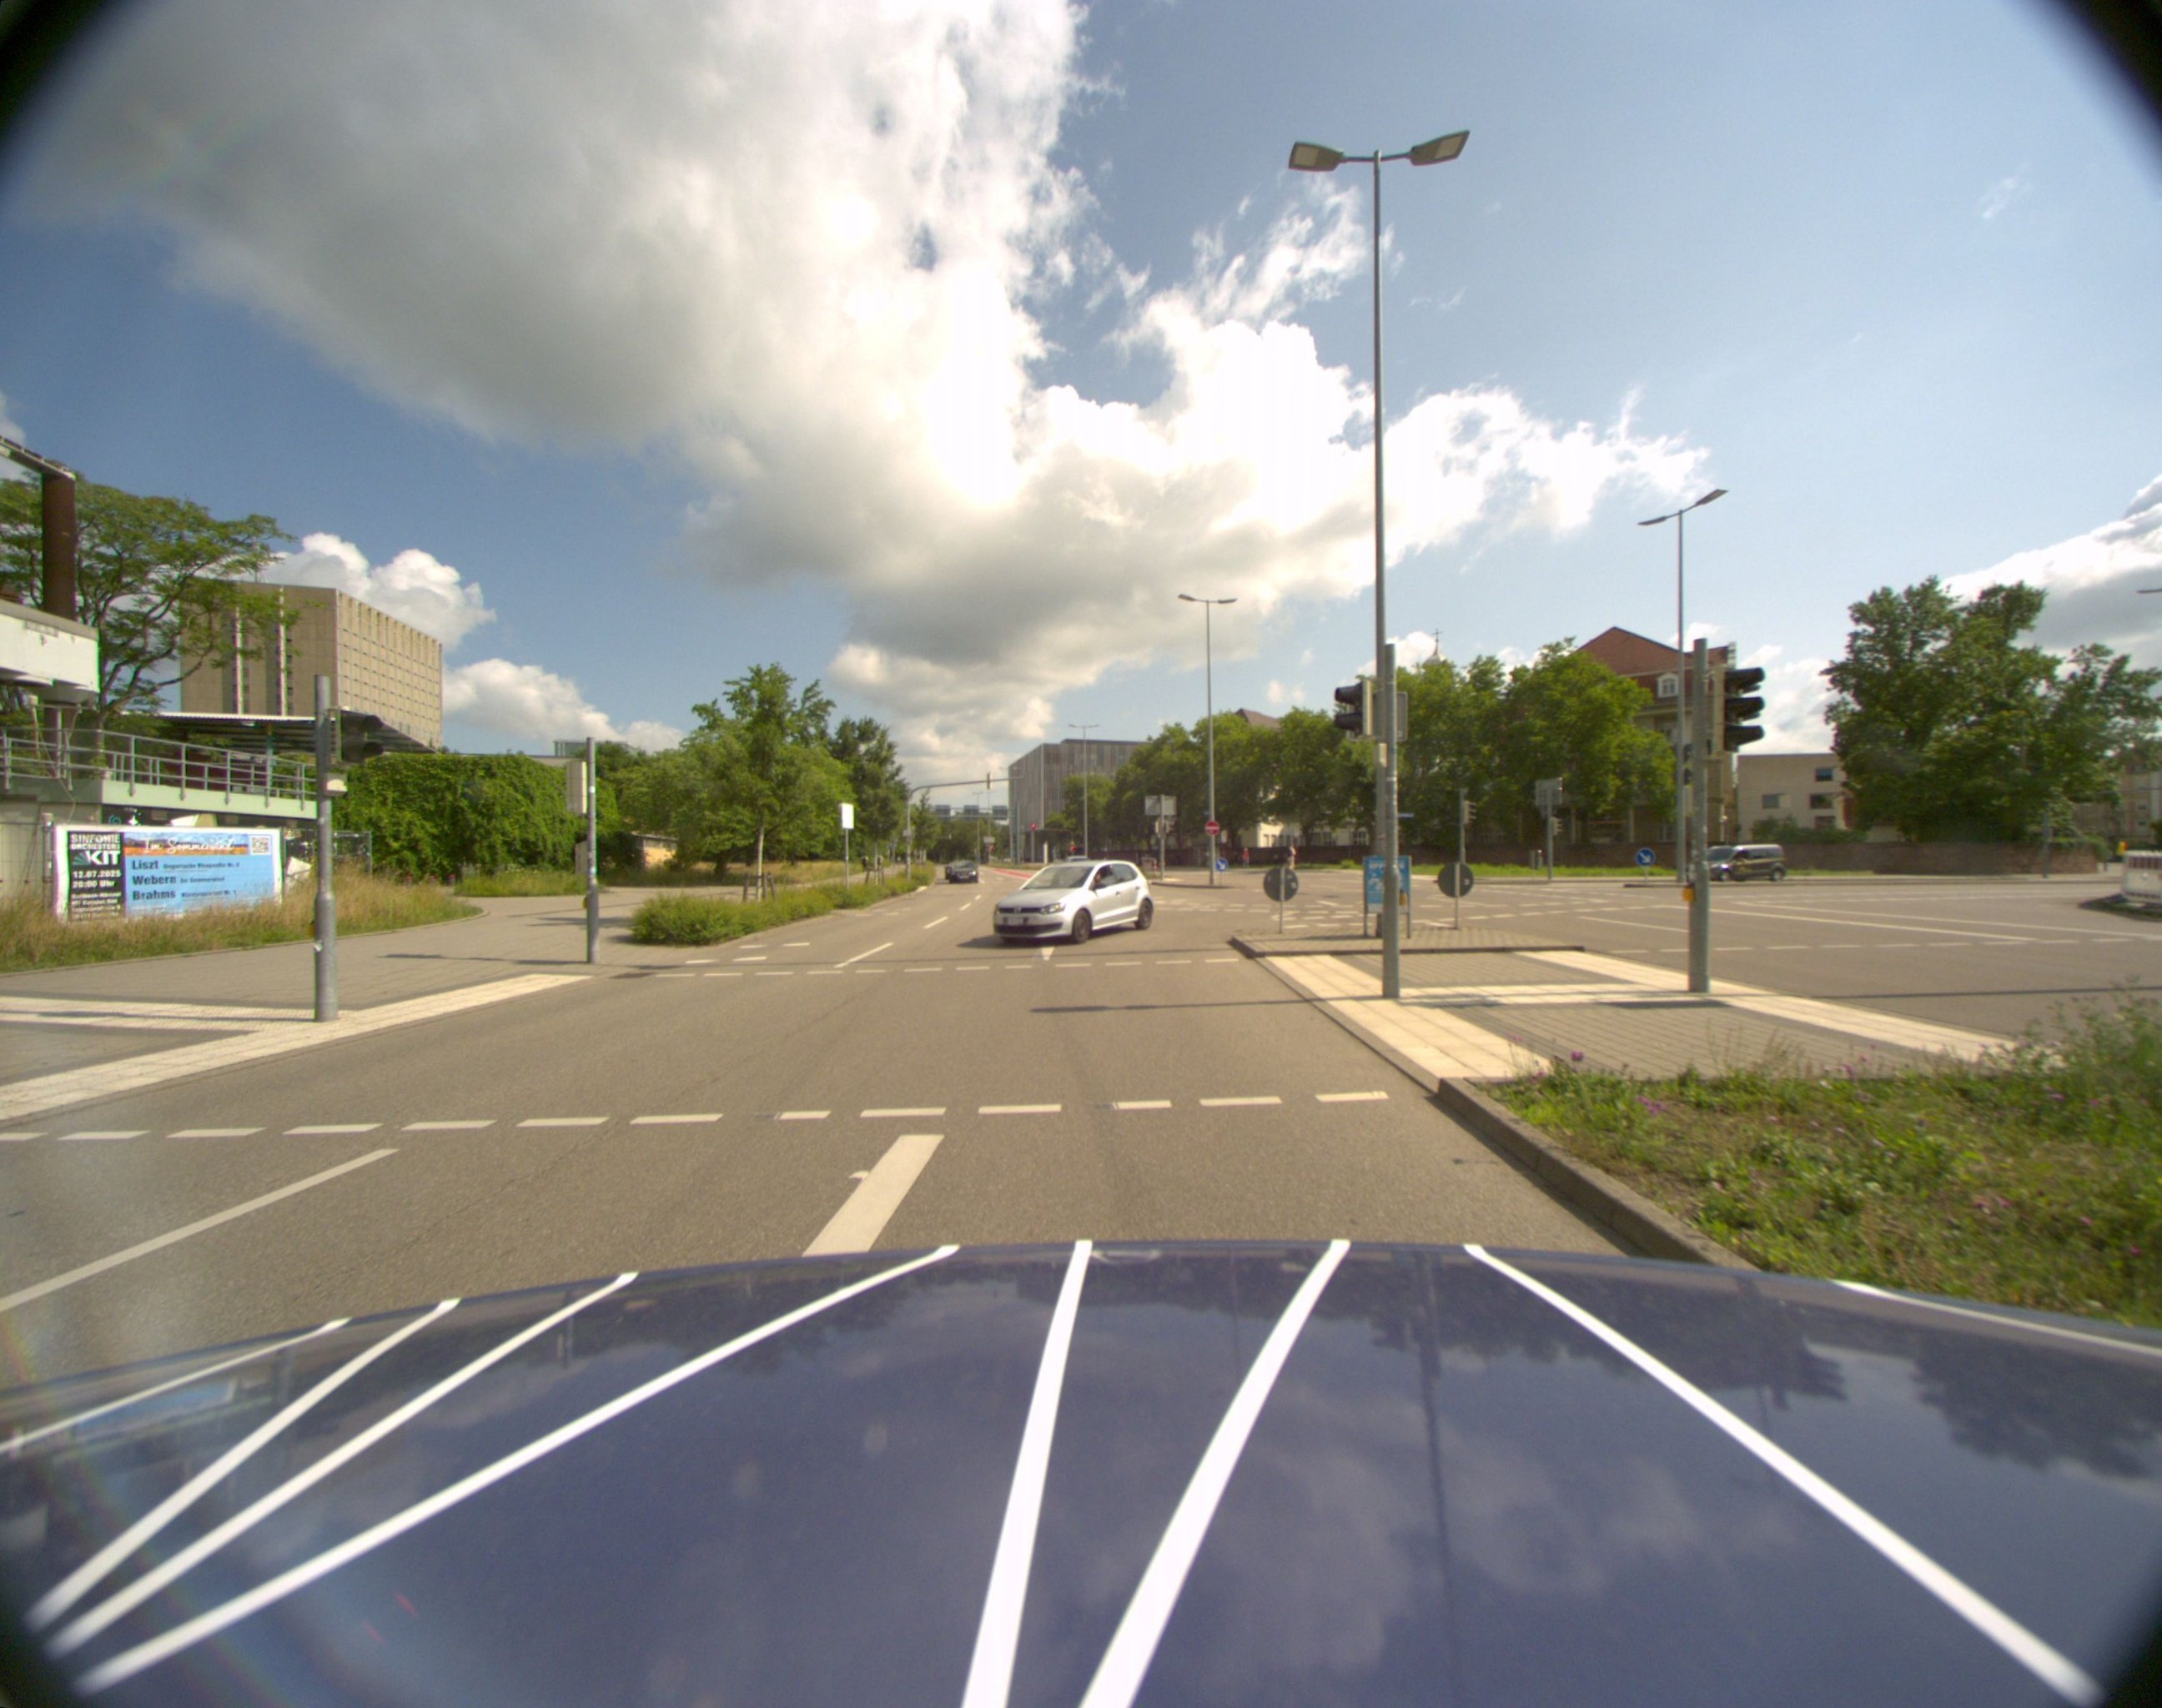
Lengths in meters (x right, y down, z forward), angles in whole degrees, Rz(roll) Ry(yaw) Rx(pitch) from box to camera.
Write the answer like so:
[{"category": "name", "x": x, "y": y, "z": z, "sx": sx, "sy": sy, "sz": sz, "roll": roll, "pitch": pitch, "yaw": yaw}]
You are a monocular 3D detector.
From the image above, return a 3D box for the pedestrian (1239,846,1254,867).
[{"category": "pedestrian", "x": 14.259, "y": 0.220, "z": 65.465, "sx": 0.750, "sy": 1.770, "sz": 0.964, "roll": -1, "pitch": 1, "yaw": -24}]

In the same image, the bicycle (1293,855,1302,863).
[{"category": "bicycle", "x": 23.232, "y": 0.550, "z": 81.542, "sx": 0.975, "sy": 0.843, "sz": 0.481, "roll": 0, "pitch": 1, "yaw": -36}]

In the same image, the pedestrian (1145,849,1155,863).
[{"category": "pedestrian", "x": 9.213, "y": 0.283, "z": 101.910, "sx": 0.888, "sy": 1.770, "sz": 0.769, "roll": -9, "pitch": 4, "yaw": -43}]

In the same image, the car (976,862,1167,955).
[{"category": "car", "x": -0.022, "y": 0.916, "z": 14.490, "sx": 1.652, "sy": 1.433, "sz": 4.013, "roll": 0, "pitch": 0, "yaw": 33}]

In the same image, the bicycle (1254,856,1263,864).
[{"category": "bicycle", "x": 20.047, "y": 0.668, "z": 85.869, "sx": 0.975, "sy": 0.843, "sz": 0.481, "roll": 0, "pitch": 1, "yaw": -36}]

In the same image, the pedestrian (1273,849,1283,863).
[{"category": "pedestrian", "x": 21.564, "y": 0.190, "z": 83.111, "sx": 0.727, "sy": 1.525, "sz": 0.722, "roll": -2, "pitch": 1, "yaw": -39}]

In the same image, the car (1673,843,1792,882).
[{"category": "car", "x": 30.940, "y": 0.403, "z": 36.134, "sx": 4.673, "sy": 1.774, "sz": 1.853, "roll": 0, "pitch": -1, "yaw": -13}]

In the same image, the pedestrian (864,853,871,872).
[{"category": "pedestrian", "x": -18.712, "y": 0.748, "z": 66.523, "sx": 0.542, "sy": 1.598, "sz": 0.523, "roll": 0, "pitch": -1, "yaw": -18}]

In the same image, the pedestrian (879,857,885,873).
[{"category": "pedestrian", "x": -22.159, "y": 1.185, "z": 84.592, "sx": 0.542, "sy": 1.757, "sz": 0.523, "roll": 0, "pitch": -1, "yaw": -18}]

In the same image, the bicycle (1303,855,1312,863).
[{"category": "bicycle", "x": 23.984, "y": 0.506, "z": 80.483, "sx": 0.975, "sy": 0.843, "sz": 0.481, "roll": 0, "pitch": 1, "yaw": -36}]

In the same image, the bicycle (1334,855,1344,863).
[{"category": "bicycle", "x": 26.249, "y": 0.480, "z": 77.337, "sx": 0.975, "sy": 0.843, "sz": 0.481, "roll": 0, "pitch": 1, "yaw": -36}]

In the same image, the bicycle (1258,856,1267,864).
[{"category": "bicycle", "x": 20.408, "y": 0.648, "z": 85.417, "sx": 0.975, "sy": 0.843, "sz": 0.481, "roll": 0, "pitch": 1, "yaw": -36}]

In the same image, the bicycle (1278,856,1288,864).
[{"category": "bicycle", "x": 22.089, "y": 0.615, "z": 83.037, "sx": 0.975, "sy": 0.843, "sz": 0.481, "roll": 0, "pitch": 1, "yaw": -36}]

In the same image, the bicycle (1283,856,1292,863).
[{"category": "bicycle", "x": 22.429, "y": 0.597, "z": 82.599, "sx": 0.975, "sy": 0.843, "sz": 0.481, "roll": 0, "pitch": 1, "yaw": -36}]

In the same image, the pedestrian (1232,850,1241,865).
[{"category": "pedestrian", "x": 17.785, "y": 0.356, "z": 86.995, "sx": 0.665, "sy": 1.713, "sz": 0.740, "roll": -1, "pitch": 1, "yaw": -33}]

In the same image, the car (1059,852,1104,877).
[{"category": "car", "x": -0.035, "y": 0.642, "z": 48.653, "sx": 2.062, "sy": 1.434, "sz": 4.775, "roll": -3, "pitch": 1, "yaw": -9}]

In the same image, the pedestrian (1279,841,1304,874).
[{"category": "pedestrian", "x": 12.117, "y": 0.217, "z": 43.642, "sx": 1.182, "sy": 1.846, "sz": 0.697, "roll": -1, "pitch": -1, "yaw": -28}]

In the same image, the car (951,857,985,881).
[{"category": "car", "x": -7.074, "y": 0.888, "z": 47.286, "sx": 2.000, "sy": 1.369, "sz": 4.156, "roll": 0, "pitch": 0, "yaw": -10}]
